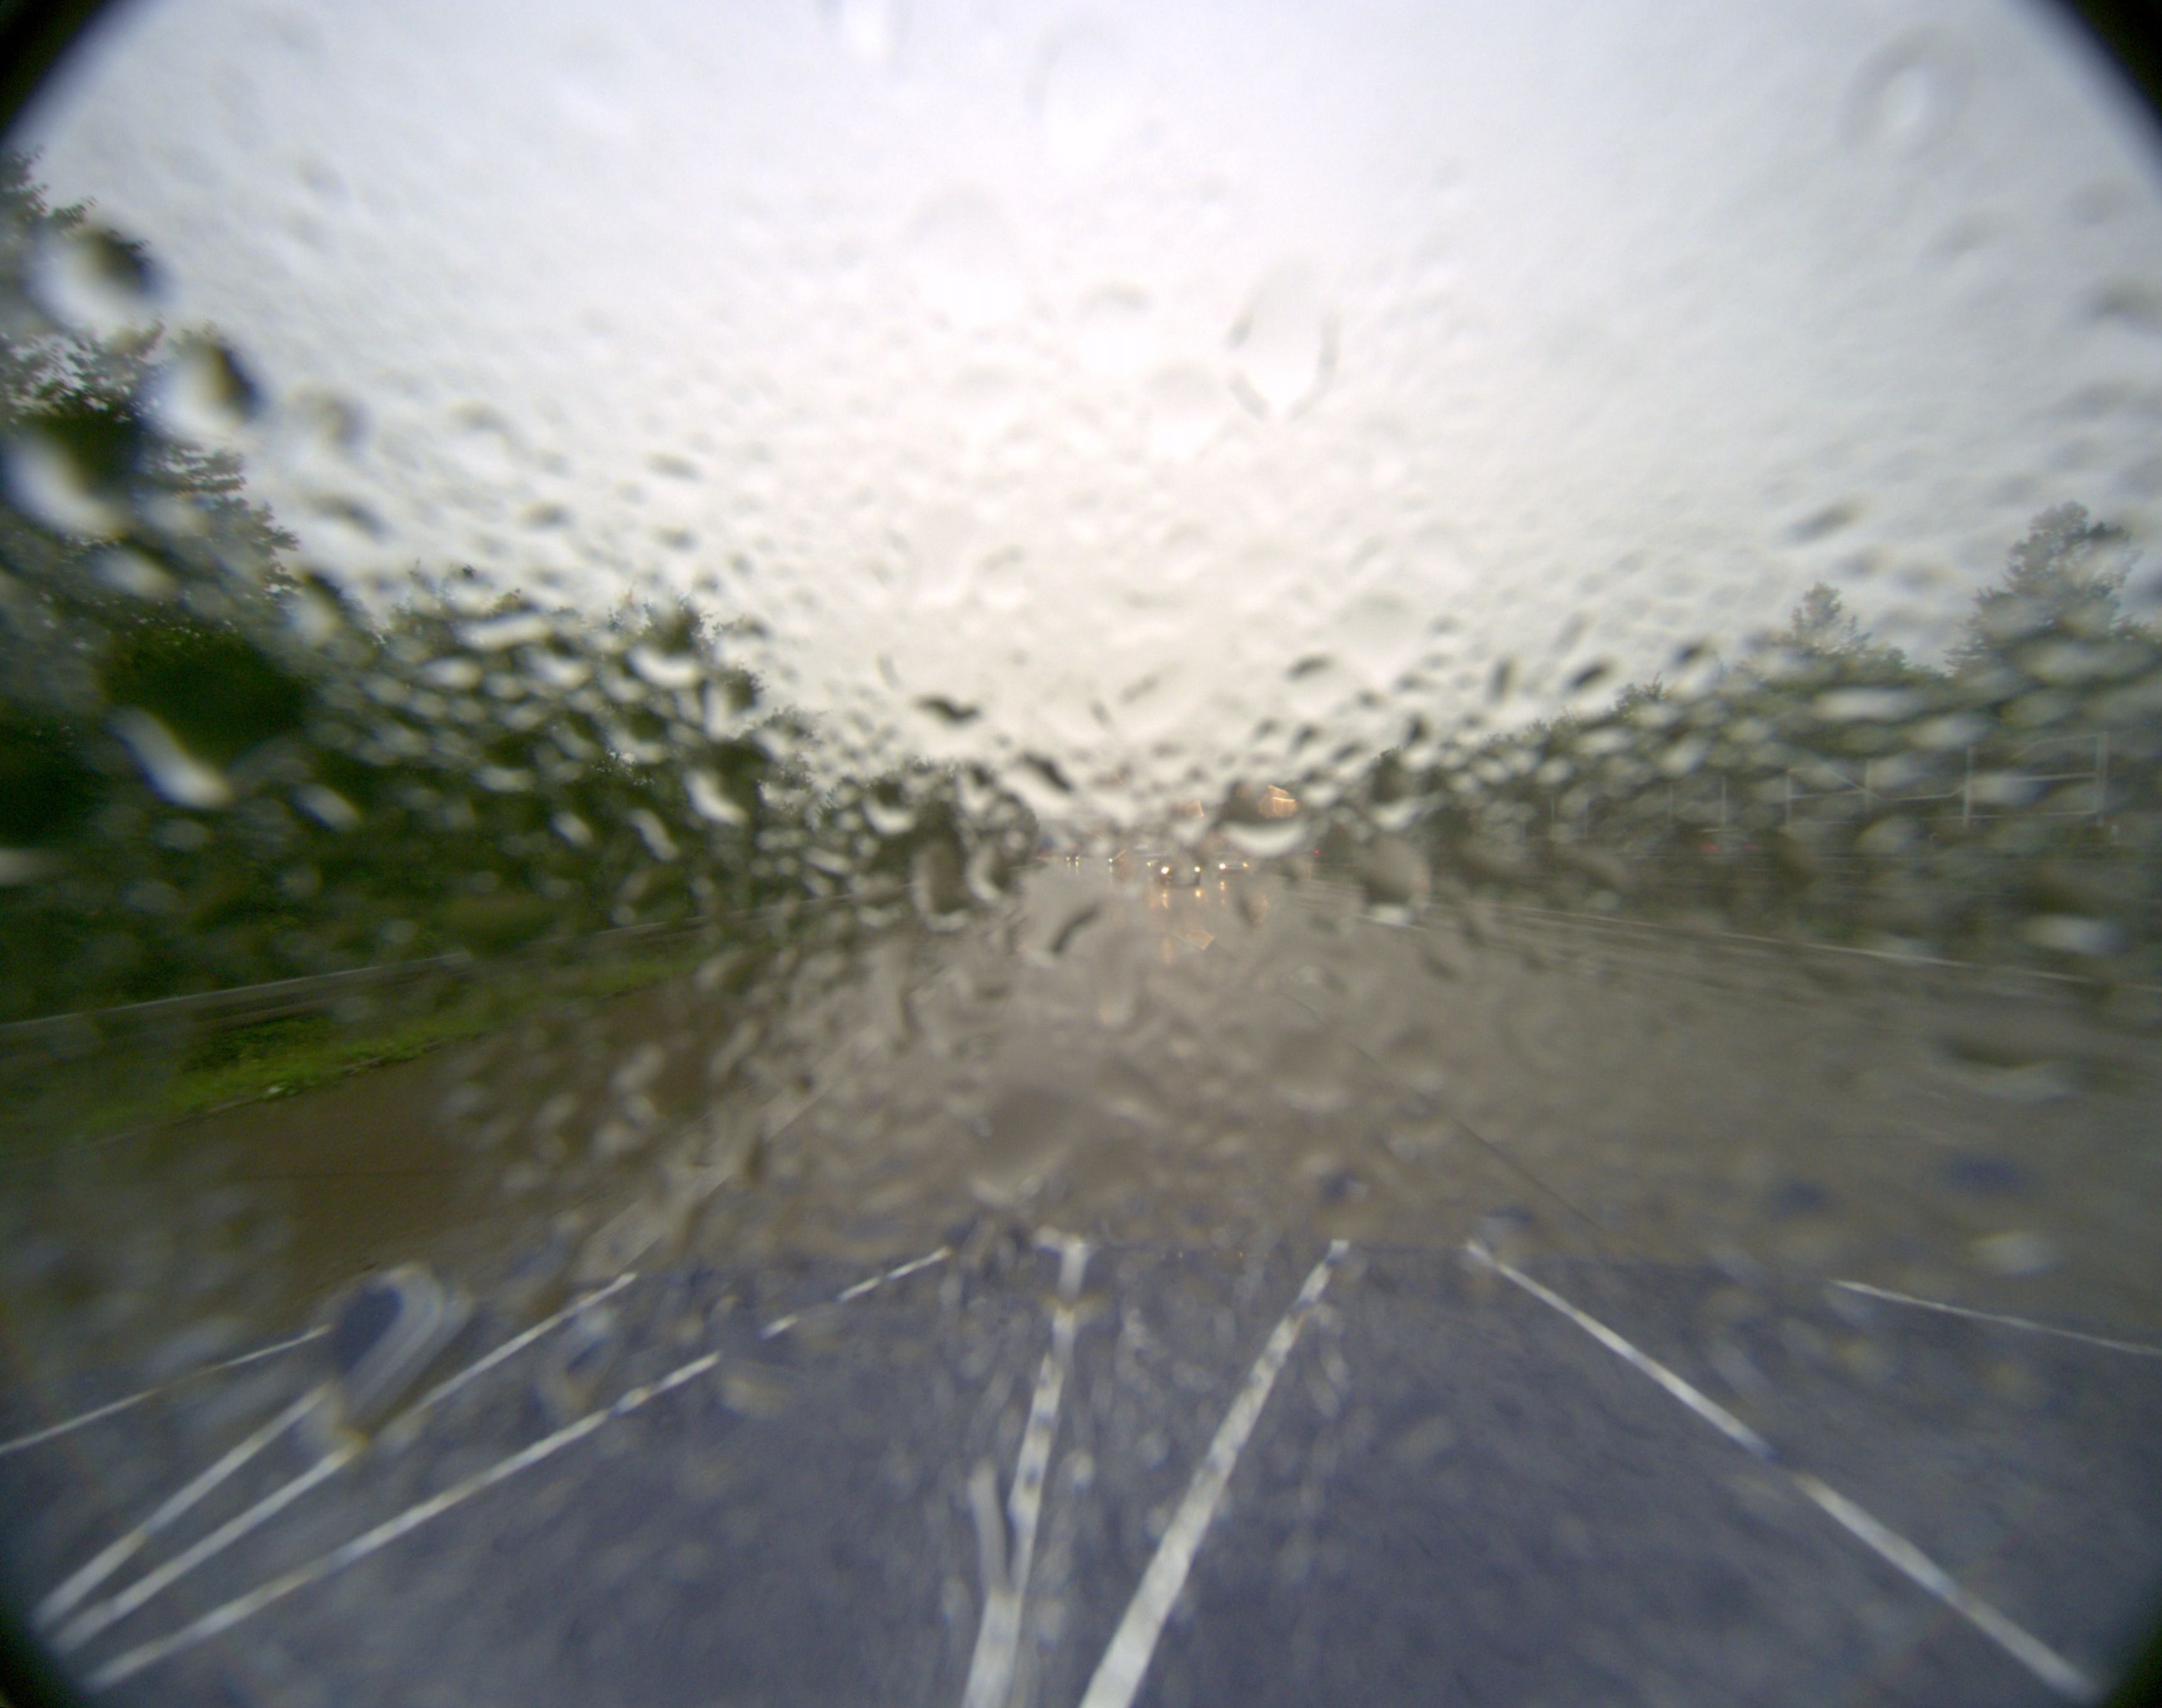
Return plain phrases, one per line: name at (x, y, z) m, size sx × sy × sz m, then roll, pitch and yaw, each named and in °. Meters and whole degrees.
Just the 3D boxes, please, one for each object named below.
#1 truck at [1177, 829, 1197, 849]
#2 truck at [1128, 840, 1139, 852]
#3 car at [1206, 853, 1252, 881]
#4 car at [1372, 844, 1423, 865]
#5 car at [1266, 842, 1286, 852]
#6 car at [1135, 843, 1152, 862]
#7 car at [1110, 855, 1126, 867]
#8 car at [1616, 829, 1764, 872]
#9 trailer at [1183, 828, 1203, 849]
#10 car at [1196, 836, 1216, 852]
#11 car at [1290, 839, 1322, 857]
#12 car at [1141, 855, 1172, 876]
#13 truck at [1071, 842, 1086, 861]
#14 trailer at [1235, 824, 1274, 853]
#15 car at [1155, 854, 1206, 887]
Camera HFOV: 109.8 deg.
truck at (23.978, -3.329, 172.415) m, size 2.855 × 4.130 × 10.177 m, roll -3°, pitch 0°, yaw 0°
truck at (17.592, -2.710, 255.831) m, size 2.591 × 3.679 × 9.798 m, roll -3°, pitch 0°, yaw -1°
car at (8.203, 0.708, 42.505) m, size 1.671 × 1.426 × 4.349 m, roll -1°, pitch 0°, yaw -1°
car at (22.218, 0.034, 53.478) m, size 1.757 × 1.296 × 4.343 m, roll -3°, pitch 0°, yaw 0°
car at (29.044, -0.992, 113.147) m, size 1.757 × 1.296 × 4.343 m, roll -3°, pitch 0°, yaw 0°
car at (8.956, -0.275, 109.486) m, size 2.045 × 2.616 × 6.403 m, roll 0°, pitch 1°, yaw 0°
car at (4.832, 0.913, 99.448) m, size 1.934 × 1.426 × 4.518 m, roll 0°, pitch 0°, yaw 1°
car at (21.432, -0.132, 27.012) m, size 1.757 × 1.296 × 4.343 m, roll -3°, pitch 0°, yaw 0°
trailer at (23.892, -3.285, 163.076) m, size 2.855 × 4.130 × 8.524 m, roll -3°, pitch 0°, yaw 0°
car at (21.705, -1.690, 131.943) m, size 2.188 × 2.552 × 7.445 m, roll -3°, pitch 0°, yaw 1°
car at (22.003, -0.600, 74.492) m, size 1.998 × 1.674 × 4.000 m, roll -1°, pitch 0°, yaw 1°
car at (5.707, 0.846, 57.834) m, size 1.934 × 1.426 × 4.517 m, roll 0°, pitch 0°, yaw 0°
truck at (-0.571, -0.520, 173.179) m, size 3.058 × 3.994 × 10.045 m, roll 0°, pitch -2°, yaw 2°
trailer at (25.553, -2.183, 112.519) m, size 2.774 × 3.779 × 13.778 m, roll -3°, pitch 0°, yaw 1°
car at (4.609, 0.749, 35.939) m, size 1.934 × 1.426 × 4.518 m, roll 0°, pitch 0°, yaw 1°
